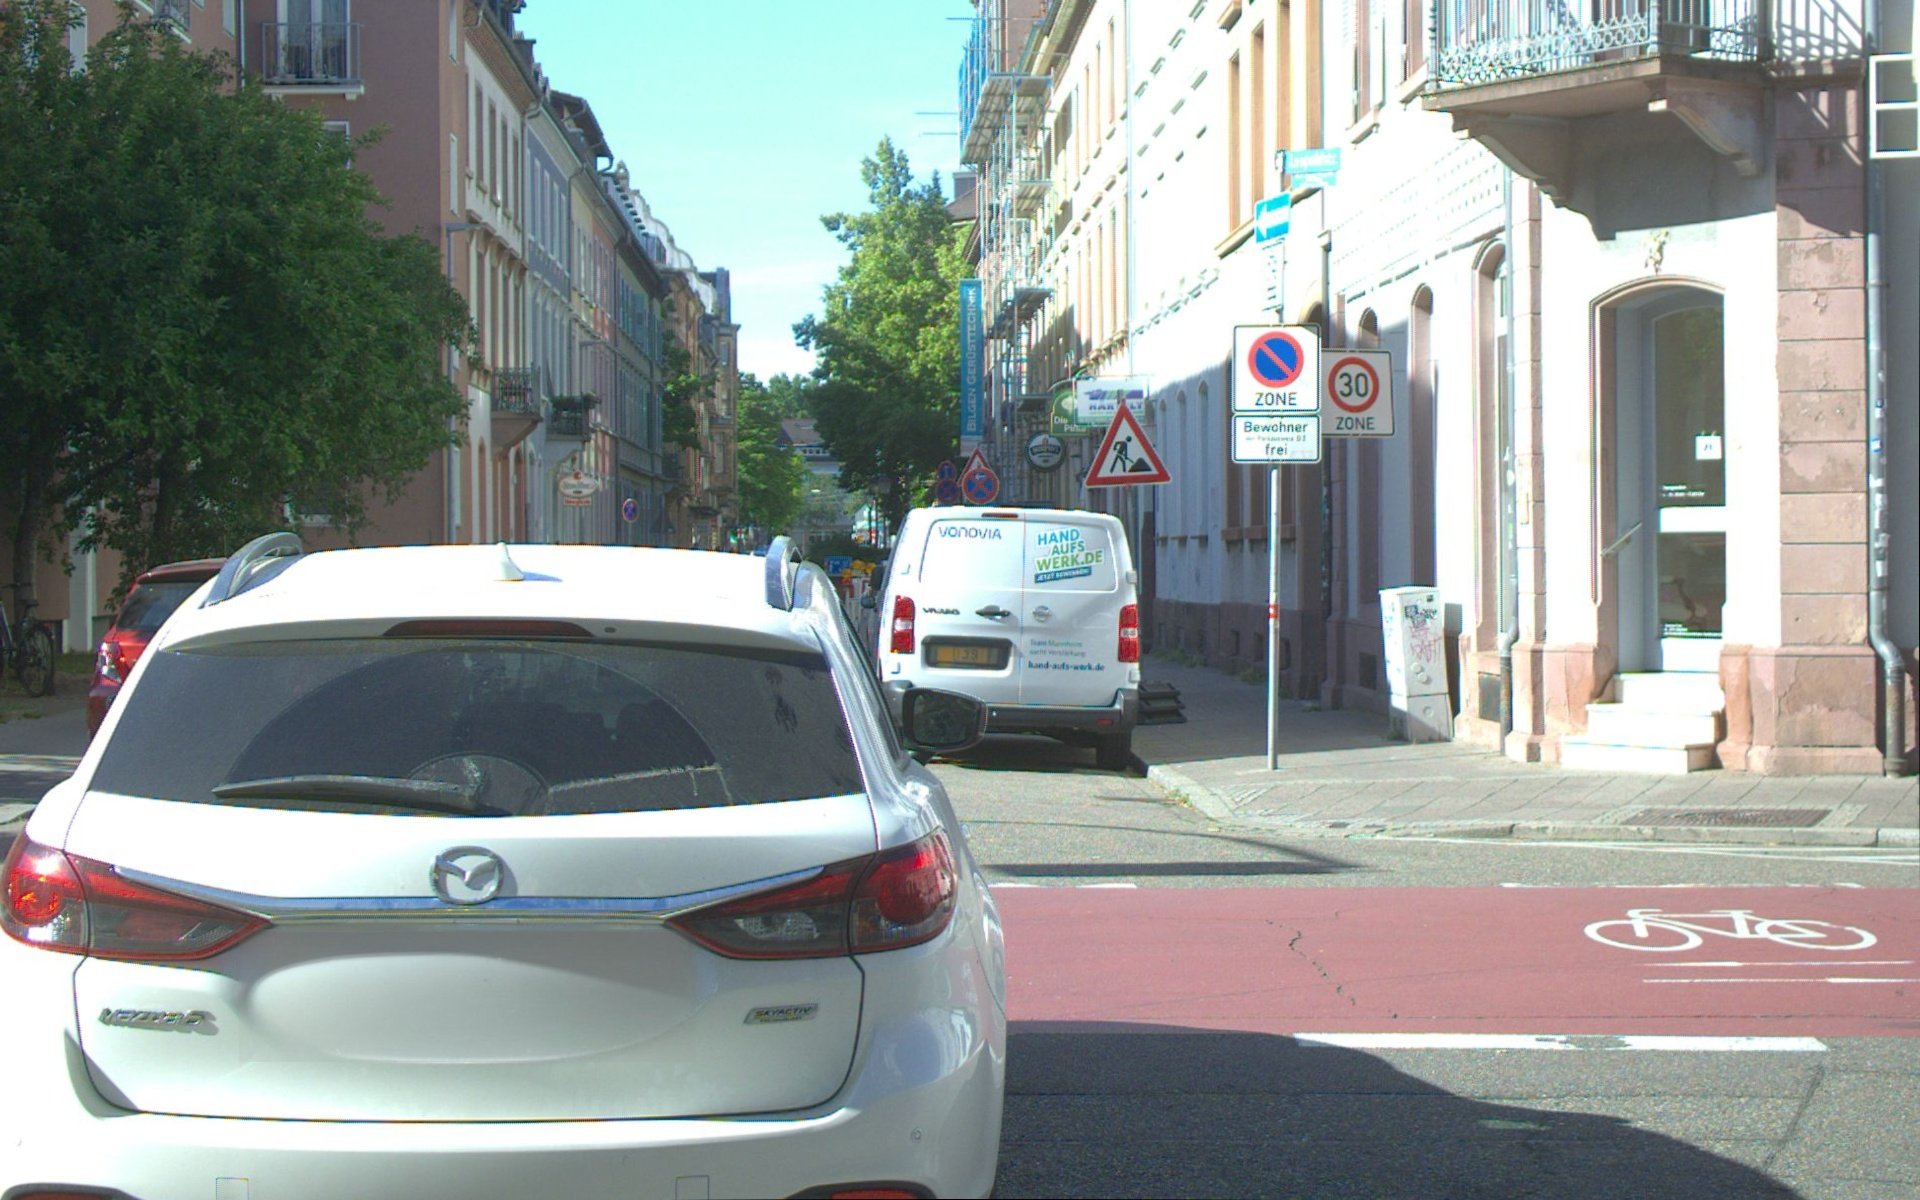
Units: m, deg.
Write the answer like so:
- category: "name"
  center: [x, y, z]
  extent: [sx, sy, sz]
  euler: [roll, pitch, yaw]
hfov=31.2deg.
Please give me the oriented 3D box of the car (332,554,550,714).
- category: "car"
  center: [-5.093, 0.296, 34.119]
  extent: [1.653, 1.495, 3.763]
  euler: [0, 1, -1]

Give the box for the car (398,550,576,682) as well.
- category: "car"
  center: [-5.577, 0.158, 40.920]
  extent: [1.653, 1.495, 3.763]
  euler: [0, 1, -1]

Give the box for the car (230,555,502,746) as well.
- category: "car"
  center: [-4.942, 0.370, 29.069]
  extent: [1.653, 1.495, 4.080]
  euler: [0, 1, -1]

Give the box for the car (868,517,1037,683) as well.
- category: "car"
  center: [-0.118, -0.032, 40.459]
  extent: [1.894, 1.853, 3.995]
  euler: [0, 1, -1]

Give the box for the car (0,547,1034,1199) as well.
- category: "car"
  center: [-0.841, 0.628, 7.226]
  extent: [1.831, 1.452, 3.962]
  euler: [0, 1, -1]

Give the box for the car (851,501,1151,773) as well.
- category: "car"
  center: [0.211, 0.225, 26.686]
  extent: [1.894, 1.853, 5.015]
  euler: [2, 1, -4]

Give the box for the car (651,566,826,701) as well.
- category: "car"
  center: [-2.435, 0.336, 38.642]
  extent: [1.760, 1.405, 4.328]
  euler: [0, 1, -1]

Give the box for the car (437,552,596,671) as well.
- category: "car"
  center: [-5.785, 0.123, 45.207]
  extent: [1.653, 1.495, 3.763]
  euler: [0, 1, -1]

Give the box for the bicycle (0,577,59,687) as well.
- category: "bicycle"
  center: [-9.450, 0.311, 34.206]
  extent: [1.218, 1.068, 0.253]
  euler: [0, 1, 38]

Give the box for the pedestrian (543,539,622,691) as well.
- category: "pedestrian"
  center: [-4.065, 0.156, 36.969]
  extent: [0.733, 1.608, 0.816]
  euler: [-1, 1, -13]

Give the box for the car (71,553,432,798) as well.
- category: "car"
  center: [-4.635, 0.436, 22.985]
  extent: [1.685, 1.495, 3.807]
  euler: [0, 1, -1]

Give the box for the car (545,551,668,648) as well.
- category: "car"
  center: [-5.653, -0.032, 55.358]
  extent: [1.653, 1.495, 3.763]
  euler: [0, 1, -1]

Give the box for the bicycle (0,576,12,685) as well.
- category: "bicycle"
  center: [-9.903, 0.300, 34.150]
  extent: [1.215, 1.068, 0.253]
  euler: [0, 1, 38]

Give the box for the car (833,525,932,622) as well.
- category: "car"
  center: [-1.524, -0.540, 67.850]
  extent: [1.894, 1.853, 3.995]
  euler: [0, 1, -1]
